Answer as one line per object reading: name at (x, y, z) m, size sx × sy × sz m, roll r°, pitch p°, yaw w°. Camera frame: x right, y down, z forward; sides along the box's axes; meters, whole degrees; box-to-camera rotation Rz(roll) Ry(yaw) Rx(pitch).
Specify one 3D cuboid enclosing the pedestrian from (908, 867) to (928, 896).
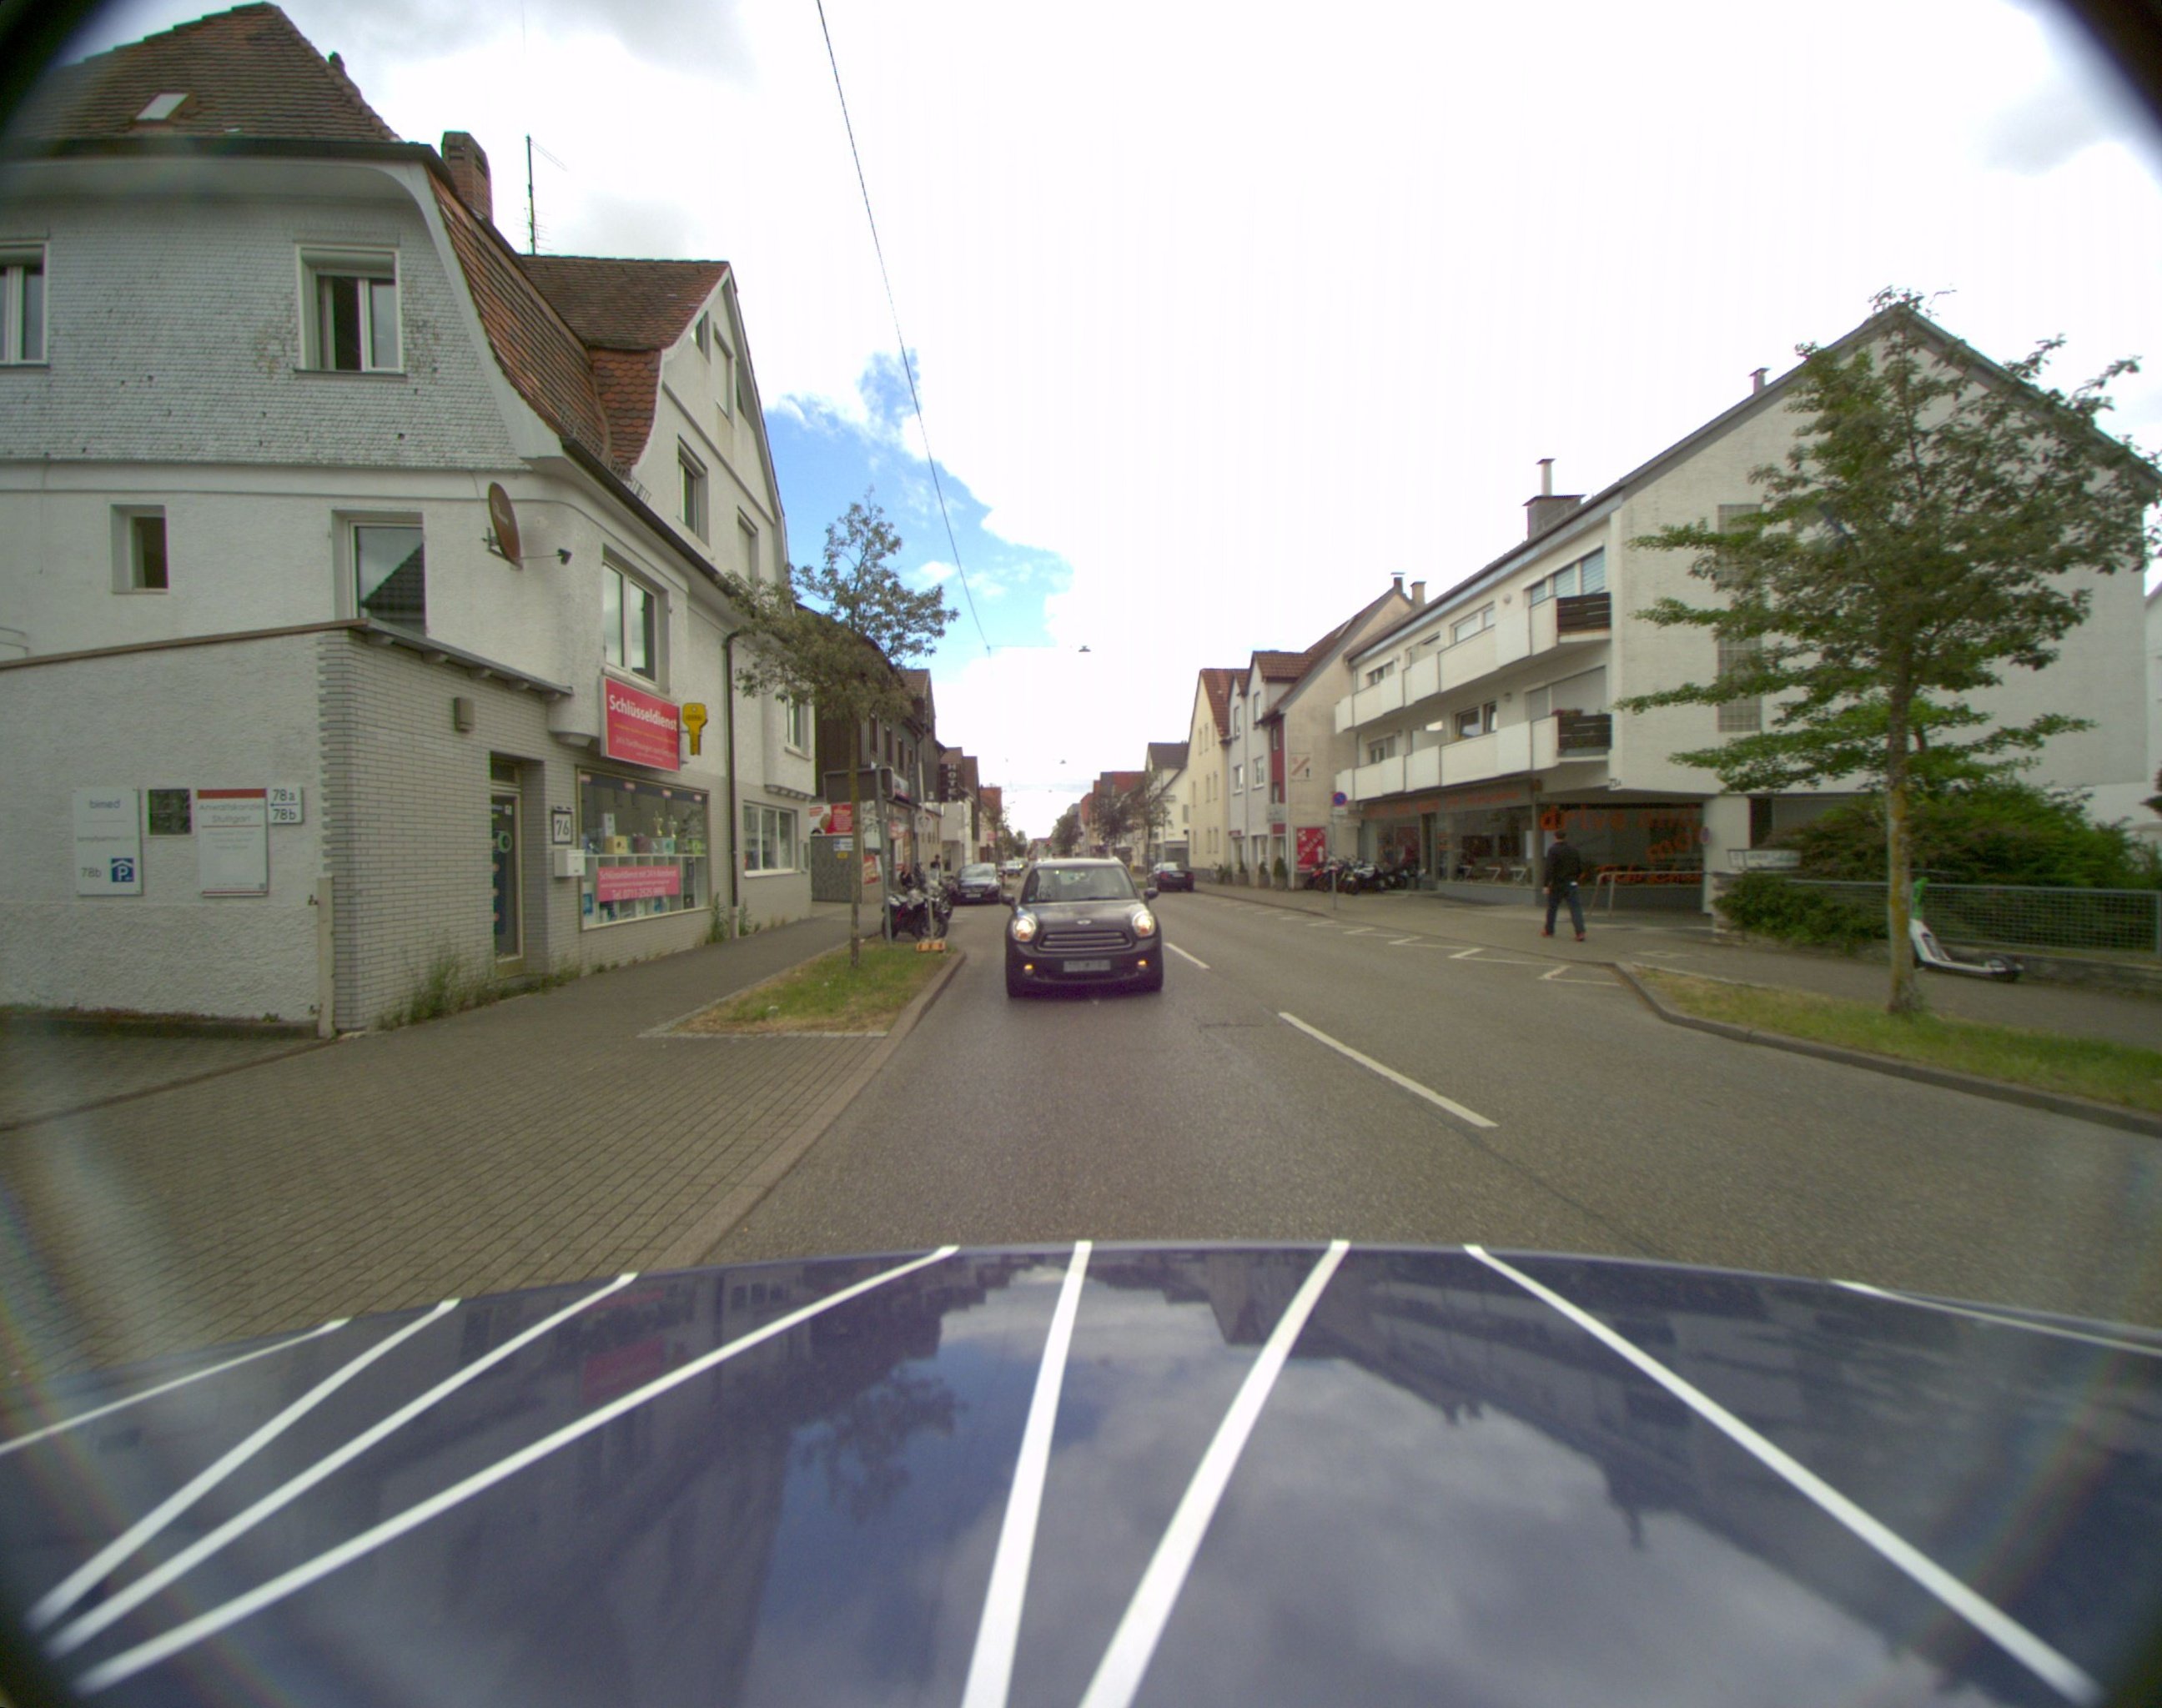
pedestrian at (-6.850, 1.163, 31.984) m, size 0.742 × 1.204 × 0.643 m, roll 0°, pitch 1°, yaw -4°

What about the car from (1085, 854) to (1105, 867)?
car at (1.519, 0.668, 82.098) m, size 1.716 × 1.389 × 3.898 m, roll -2°, pitch 0°, yaw -5°

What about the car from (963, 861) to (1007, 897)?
car at (-4.232, 1.068, 33.917) m, size 1.645 × 1.433 × 3.901 m, roll -2°, pitch 0°, yaw -4°

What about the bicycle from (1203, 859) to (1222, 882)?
bicycle at (7.118, 0.886, 41.264) m, size 0.515 × 1.189 × 2.023 m, roll -2°, pitch 0°, yaw -4°

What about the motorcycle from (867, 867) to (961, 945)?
motorcycle at (-3.258, 0.952, 14.630) m, size 0.777 × 1.373 × 2.237 m, roll -2°, pitch 1°, yaw -40°

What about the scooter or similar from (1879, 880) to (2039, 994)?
scooter or similar at (9.538, 0.863, 8.305) m, size 0.340 × 1.105 × 1.180 m, roll -2°, pitch 1°, yaw -2°

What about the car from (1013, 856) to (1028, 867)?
car at (-7.998, 1.015, 100.763) m, size 1.795 × 1.396 × 3.947 m, roll 1°, pitch 0°, yaw -3°

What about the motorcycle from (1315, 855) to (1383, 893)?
motorcycle at (10.023, 0.722, 28.416) m, size 2.231 × 1.258 × 0.699 m, roll -4°, pitch 1°, yaw -4°

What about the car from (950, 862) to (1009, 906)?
car at (-3.738, 1.077, 28.649) m, size 1.830 × 1.400 × 4.563 m, roll -2°, pitch 0°, yaw -4°

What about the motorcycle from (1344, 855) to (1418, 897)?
motorcycle at (10.178, 0.729, 25.782) m, size 2.231 × 1.258 × 0.613 m, roll -4°, pitch 1°, yaw -4°

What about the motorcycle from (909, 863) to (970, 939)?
motorcycle at (-3.117, 0.990, 17.002) m, size 0.672 × 1.516 × 2.598 m, roll -2°, pitch 0°, yaw 4°

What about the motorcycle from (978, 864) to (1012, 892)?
motorcycle at (-4.220, 1.157, 37.246) m, size 1.589 × 1.284 × 0.500 m, roll -2°, pitch 1°, yaw -33°

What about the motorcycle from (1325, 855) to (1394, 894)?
motorcycle at (10.099, 0.725, 27.537) m, size 2.231 × 1.258 × 0.613 m, roll -4°, pitch 1°, yaw -4°

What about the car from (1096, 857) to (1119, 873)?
car at (2.467, 1.003, 72.098) m, size 1.716 × 1.389 × 3.898 m, roll -2°, pitch 0°, yaw -5°

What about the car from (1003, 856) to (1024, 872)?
car at (-6.239, 0.894, 70.450) m, size 1.795 × 1.356 × 3.947 m, roll 1°, pitch 0°, yaw -3°

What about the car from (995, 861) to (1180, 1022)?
car at (-0.111, 0.905, 10.120) m, size 1.856 × 1.527 × 4.734 m, roll -2°, pitch 0°, yaw -5°

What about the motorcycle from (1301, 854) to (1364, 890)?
motorcycle at (9.872, 0.712, 29.878) m, size 2.231 × 1.258 × 0.613 m, roll -4°, pitch 1°, yaw -4°

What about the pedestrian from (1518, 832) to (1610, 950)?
pedestrian at (8.043, 0.591, 12.700) m, size 0.753 × 1.838 × 1.019 m, roll -5°, pitch 1°, yaw -2°

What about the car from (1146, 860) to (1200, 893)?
car at (4.354, 1.034, 36.604) m, size 1.793 × 1.409 × 4.339 m, roll 0°, pitch 0°, yaw -4°

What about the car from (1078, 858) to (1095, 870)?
car at (0.644, 1.198, 93.336) m, size 1.716 × 1.389 × 3.898 m, roll -2°, pitch 0°, yaw -5°

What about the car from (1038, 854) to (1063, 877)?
car at (-2.393, 0.866, 59.356) m, size 1.855 × 1.615 × 4.735 m, roll -2°, pitch 0°, yaw -2°

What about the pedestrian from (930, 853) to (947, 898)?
pedestrian at (-5.588, 0.840, 29.816) m, size 0.644 × 1.730 × 0.742 m, roll 0°, pitch 1°, yaw -8°

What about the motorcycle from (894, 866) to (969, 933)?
motorcycle at (-3.534, 1.053, 18.225) m, size 0.648 × 1.432 × 2.472 m, roll -2°, pitch 0°, yaw 16°

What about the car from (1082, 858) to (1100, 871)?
car at (1.110, 1.205, 87.711) m, size 1.716 × 1.389 × 3.898 m, roll -2°, pitch 0°, yaw -5°

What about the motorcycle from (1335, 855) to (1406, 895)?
motorcycle at (10.160, 0.726, 26.675) m, size 2.231 × 1.258 × 0.613 m, roll -4°, pitch 1°, yaw -4°

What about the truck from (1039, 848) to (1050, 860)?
truck at (-9.703, 0.023, 203.105) m, size 2.800 × 3.020 × 8.248 m, roll -2°, pitch 0°, yaw -3°

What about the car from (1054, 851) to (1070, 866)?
car at (-2.673, 0.592, 105.186) m, size 1.856 × 1.932 × 4.489 m, roll 1°, pitch 0°, yaw -5°

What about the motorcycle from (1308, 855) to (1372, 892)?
motorcycle at (9.948, 0.736, 29.200) m, size 2.231 × 1.258 × 0.613 m, roll -4°, pitch 1°, yaw -4°
